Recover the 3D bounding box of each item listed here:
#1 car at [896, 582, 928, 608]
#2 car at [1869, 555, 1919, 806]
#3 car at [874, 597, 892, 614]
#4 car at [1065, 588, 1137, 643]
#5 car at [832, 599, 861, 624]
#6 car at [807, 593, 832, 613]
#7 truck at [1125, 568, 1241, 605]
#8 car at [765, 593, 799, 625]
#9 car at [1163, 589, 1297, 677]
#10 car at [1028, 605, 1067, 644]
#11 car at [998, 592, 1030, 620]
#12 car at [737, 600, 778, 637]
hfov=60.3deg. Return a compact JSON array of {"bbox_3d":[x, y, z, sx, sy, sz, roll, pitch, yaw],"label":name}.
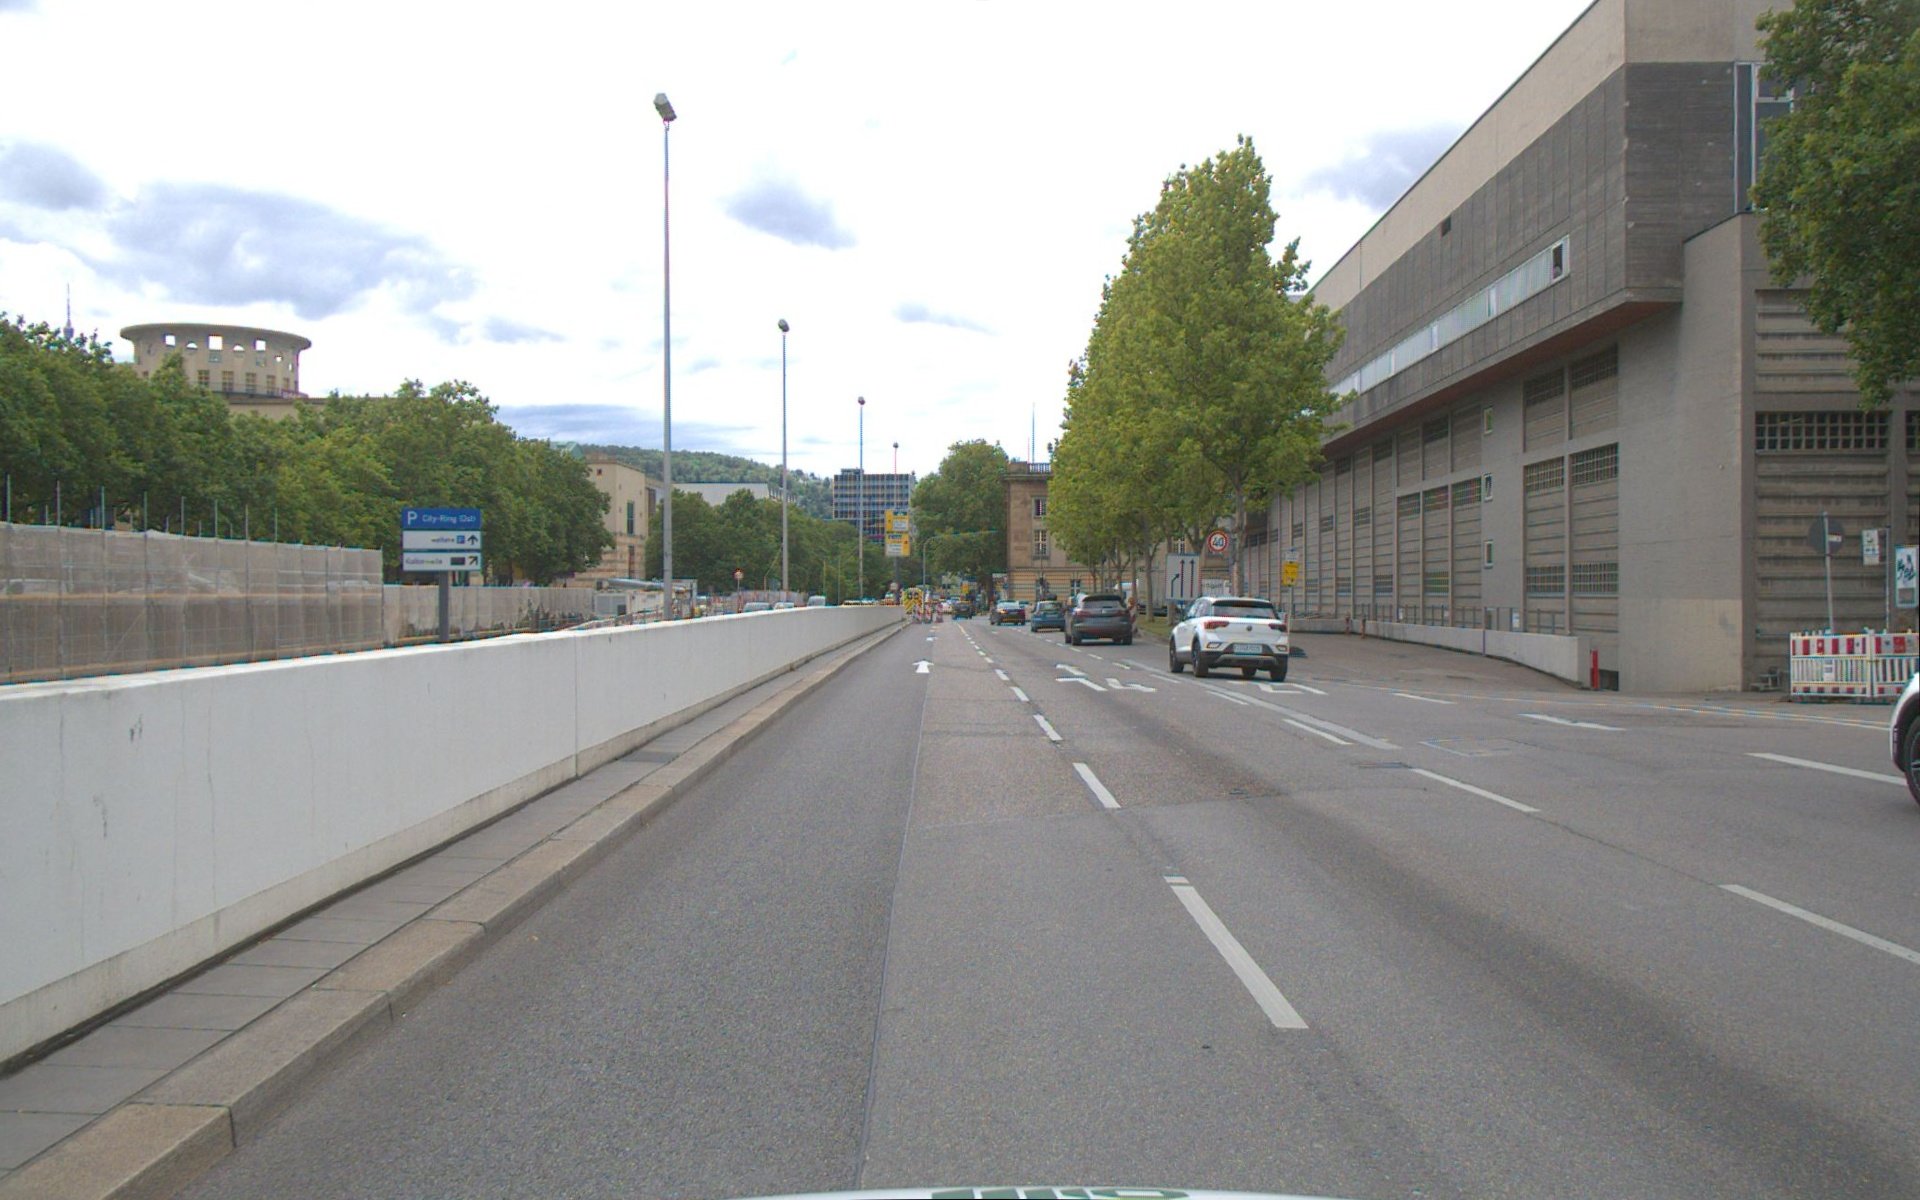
[{"bbox_3d":[-4.728,-0.488,163.944,2.528,2.416,5.529,-1,0,4],"label":"car"},{"bbox_3d":[7.468,0.559,9.394,1.776,1.671,4.547,-2,2,-6],"label":"car"},{"bbox_3d":[-7.360,0.535,158.175,1.716,1.595,4.328,0,-1,-3],"label":"car"},{"bbox_3d":[4.595,0.473,54.426,1.787,1.595,4.478,0,2,-2],"label":"car"},{"bbox_3d":[-7.917,0.792,115.545,1.715,1.595,3.377,-3,0,1],"label":"car"},{"bbox_3d":[-11.790,0.268,139.191,1.715,1.595,3.377,-3,0,1],"label":"car"},{"bbox_3d":[19.423,-1.167,144.332,9.823,3.104,2.569,0,-1,0],"label":"truck"},{"bbox_3d":[-12.067,0.597,112.299,1.953,2.048,4.000,0,1,-1],"label":"car"},{"bbox_3d":[5.285,0.617,32.931,1.716,1.595,4.328,2,0,-3],"label":"car"},{"bbox_3d":[4.304,1.169,80.602,1.785,1.771,4.482,-1,0,4],"label":"car"},{"bbox_3d":[3.474,0.372,105.877,1.785,1.771,4.482,-1,0,4],"label":"car"},{"bbox_3d":[-11.943,1.055,97.674,1.953,2.048,4.000,0,1,-1],"label":"car"}]
